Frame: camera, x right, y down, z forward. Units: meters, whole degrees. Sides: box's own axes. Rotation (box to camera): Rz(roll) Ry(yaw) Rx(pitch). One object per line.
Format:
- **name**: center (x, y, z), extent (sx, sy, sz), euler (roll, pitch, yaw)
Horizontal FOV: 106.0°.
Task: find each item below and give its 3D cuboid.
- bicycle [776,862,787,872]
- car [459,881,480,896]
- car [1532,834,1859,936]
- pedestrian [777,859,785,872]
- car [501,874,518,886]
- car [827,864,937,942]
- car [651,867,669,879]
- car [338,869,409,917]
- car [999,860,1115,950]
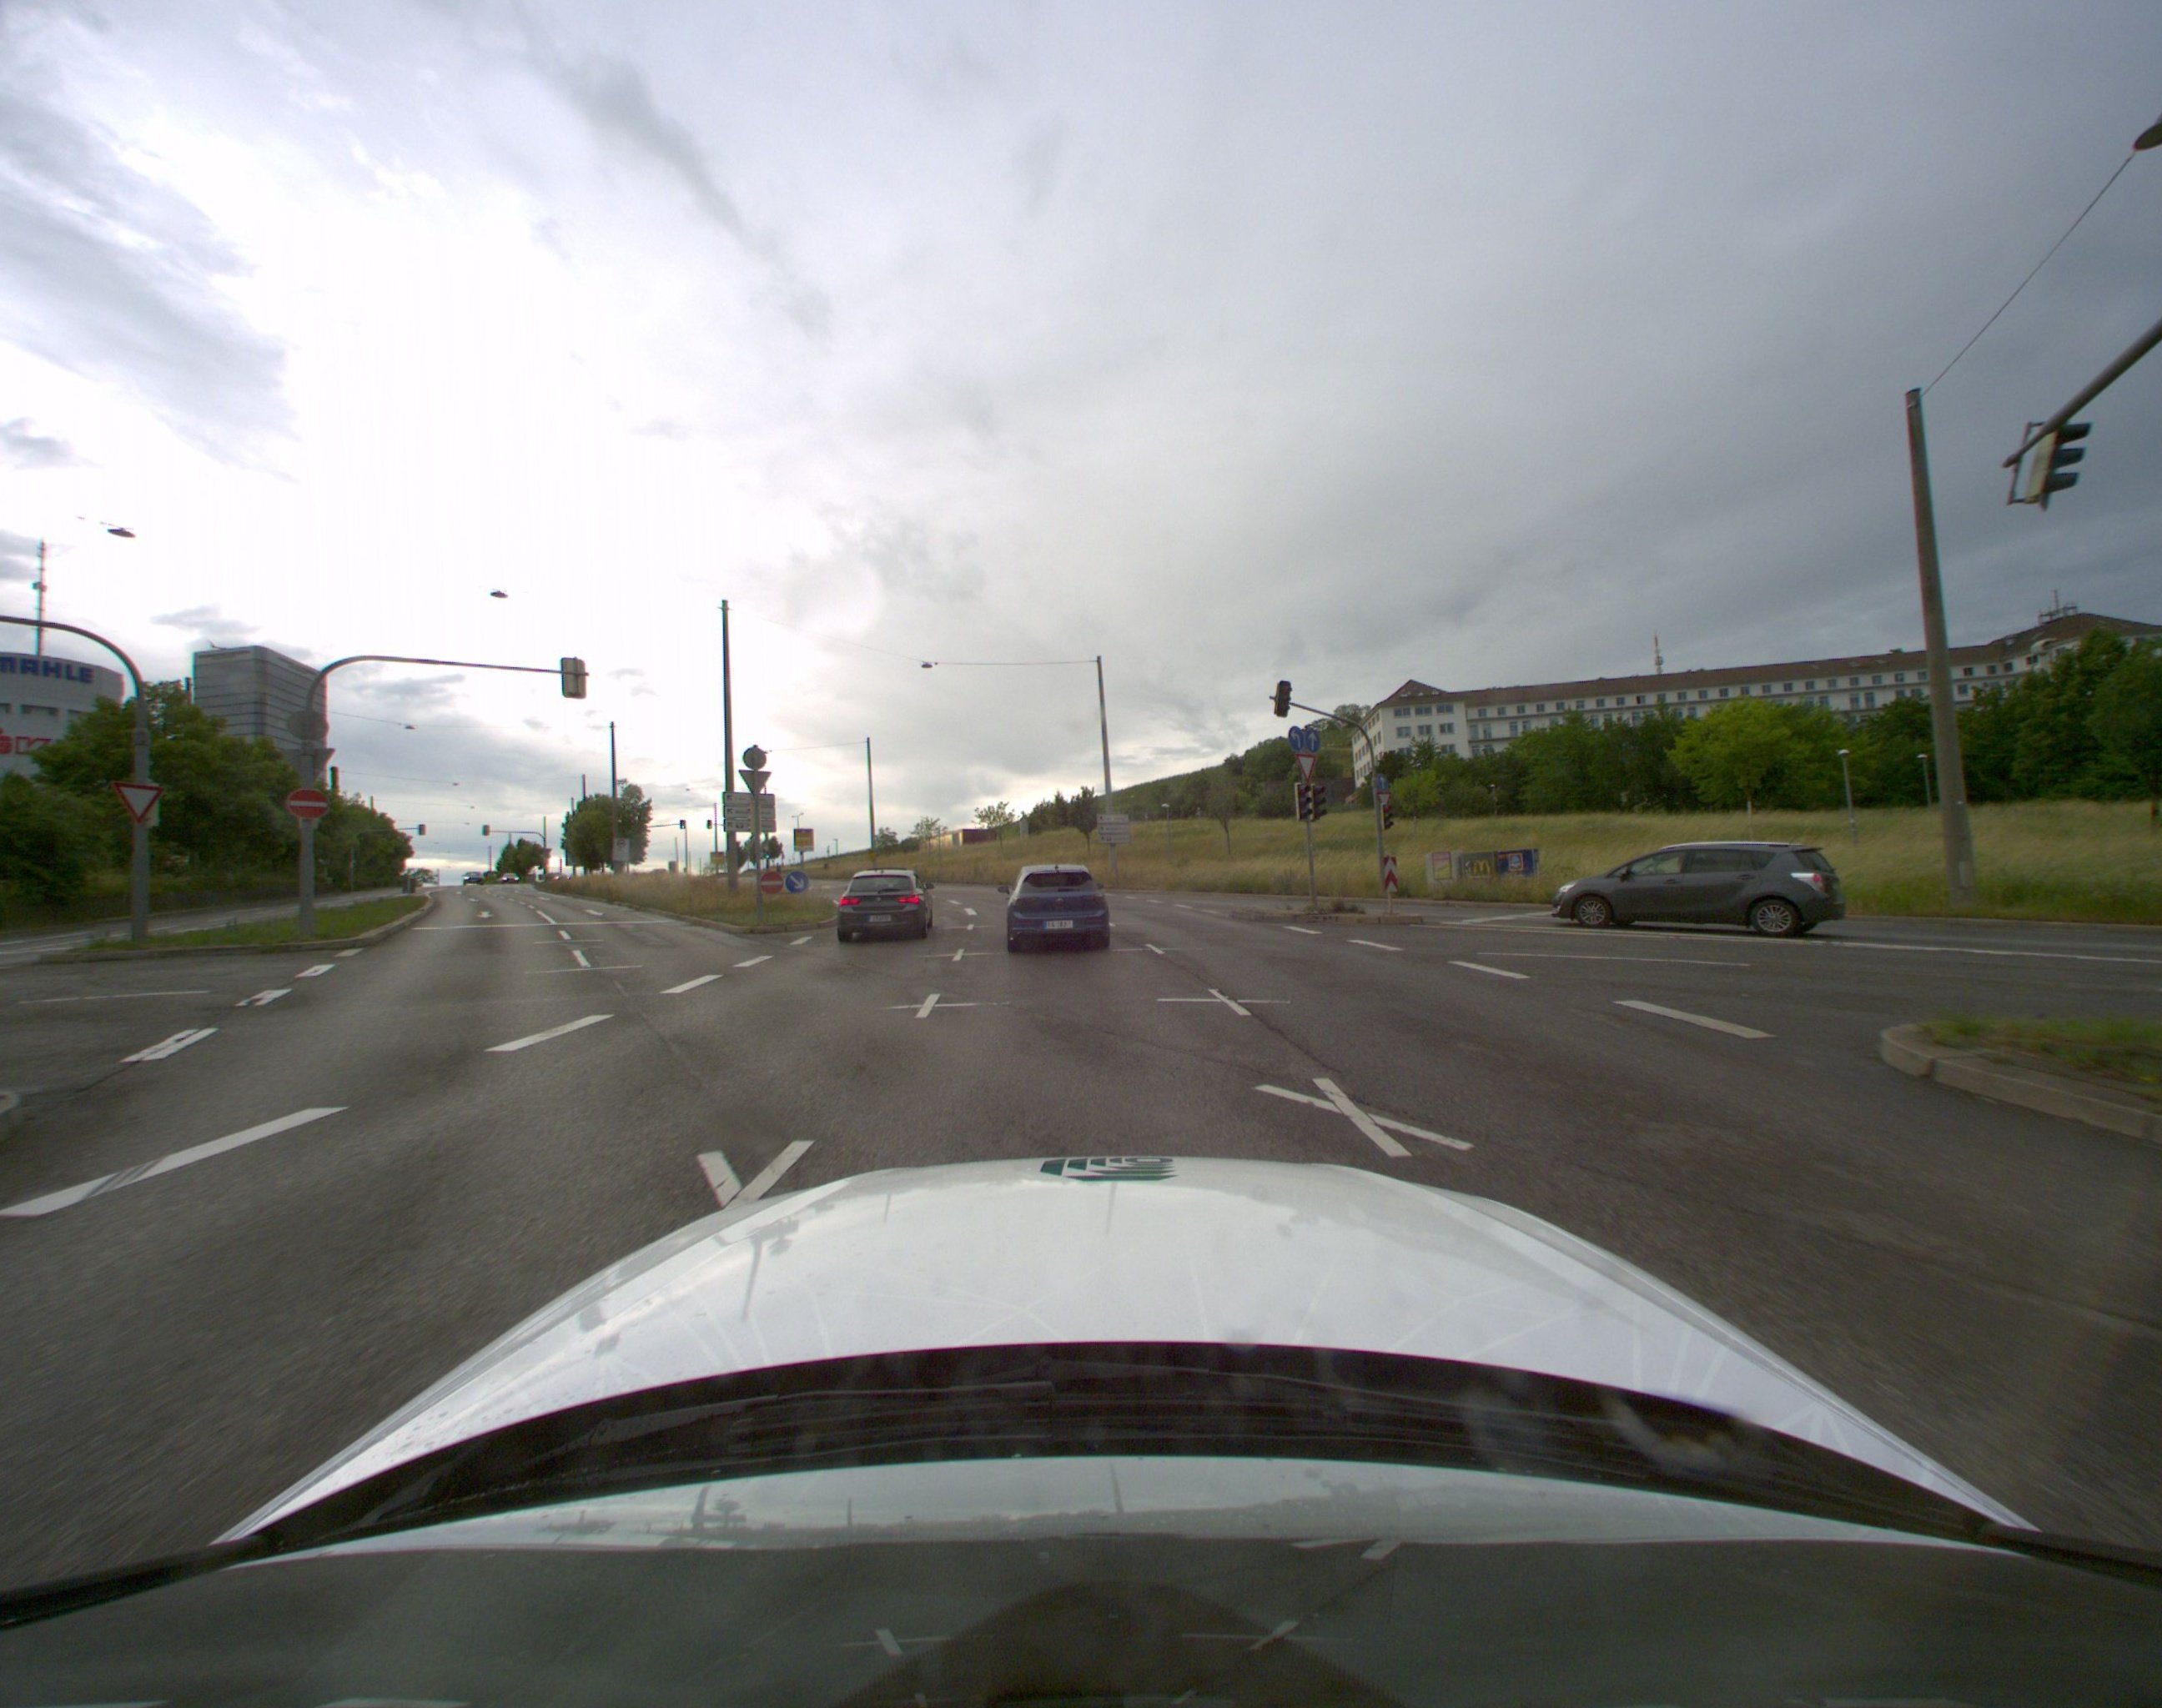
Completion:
- **bicycle**: center (-37.027, 1.613, 100.580), extent (0.638, 1.105, 1.731), euler (0, -2, -44)
- **car**: center (-71.136, 3.960, 94.789), extent (1.876, 1.620, 3.954), euler (0, -1, -38)
- **car**: center (11.432, 0.524, 15.466), extent (2.010, 1.642, 4.575), euler (-1, -1, -38)
- **pedestrian**: center (-37.067, 1.432, 100.580), extent (0.638, 1.571, 0.884), euler (-2, -1, -45)
- **car**: center (-77.105, 3.501, 109.867), extent (1.823, 1.470, 3.572), euler (1, -2, -37)
- **car**: center (-4.195, 0.981, 17.755), extent (1.867, 1.461, 3.966), euler (-1, -1, -7)
- **car**: center (-54.867, 2.501, 106.215), extent (1.734, 1.542, 3.665), euler (1, -2, -33)
- **car**: center (-32.977, 1.777, 38.062), extent (2.008, 2.013, 3.957), euler (-3, 0, -34)
- **car**: center (-0.510, 0.838, 15.191), extent (1.834, 1.393, 3.994), euler (-2, -1, -4)
